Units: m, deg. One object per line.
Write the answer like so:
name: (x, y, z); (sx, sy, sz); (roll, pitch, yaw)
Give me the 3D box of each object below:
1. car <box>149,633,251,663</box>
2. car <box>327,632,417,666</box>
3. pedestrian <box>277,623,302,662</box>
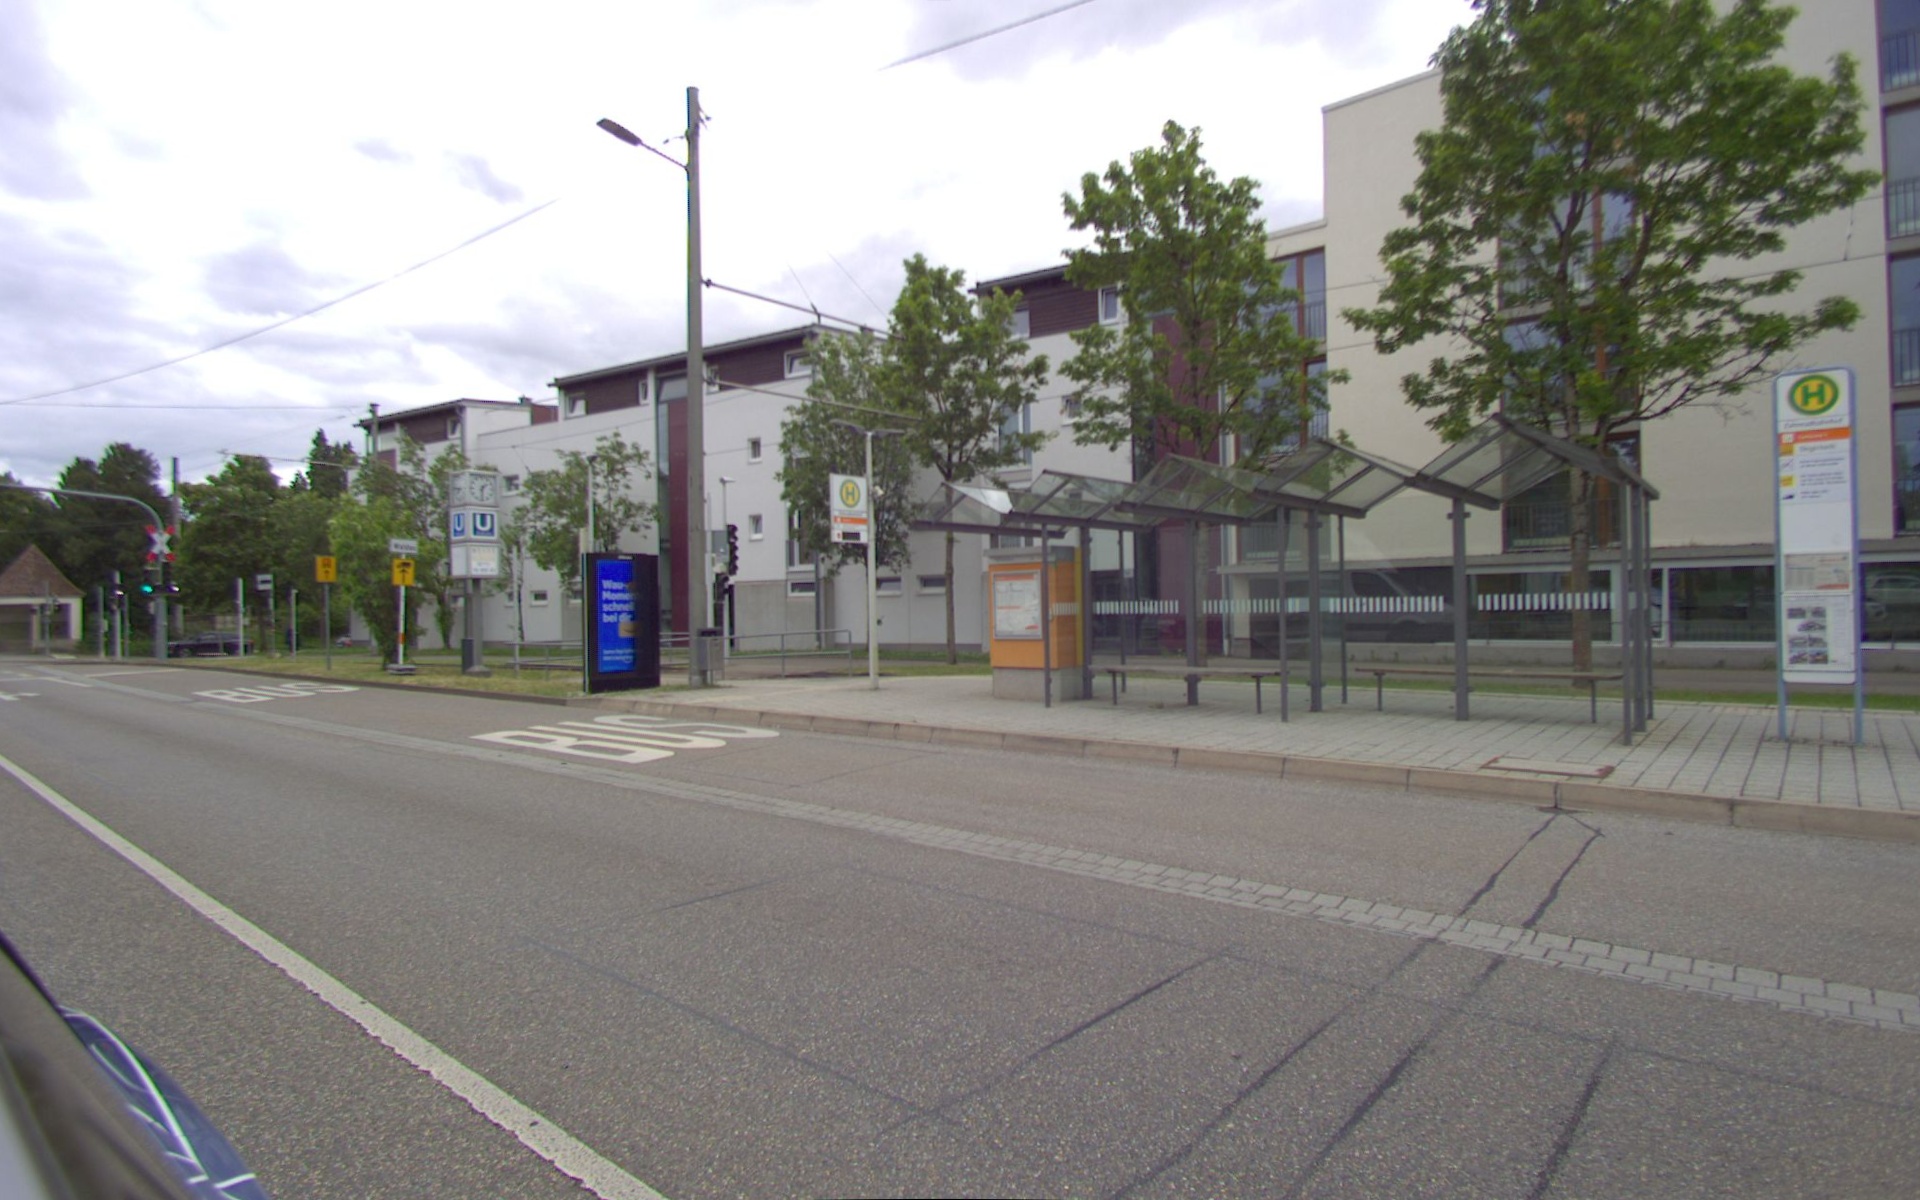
car: (-45.208, 2.878, 60.291); (1.960, 1.682, 4.438); (-1, -4, 32)
car: (-36.784, 3.101, 63.410); (1.994, 2.029, 4.418); (-1, -5, 33)
pedestrian: (-29.069, 1.849, 43.874); (0.817, 1.657, 0.669); (-4, -4, 34)
